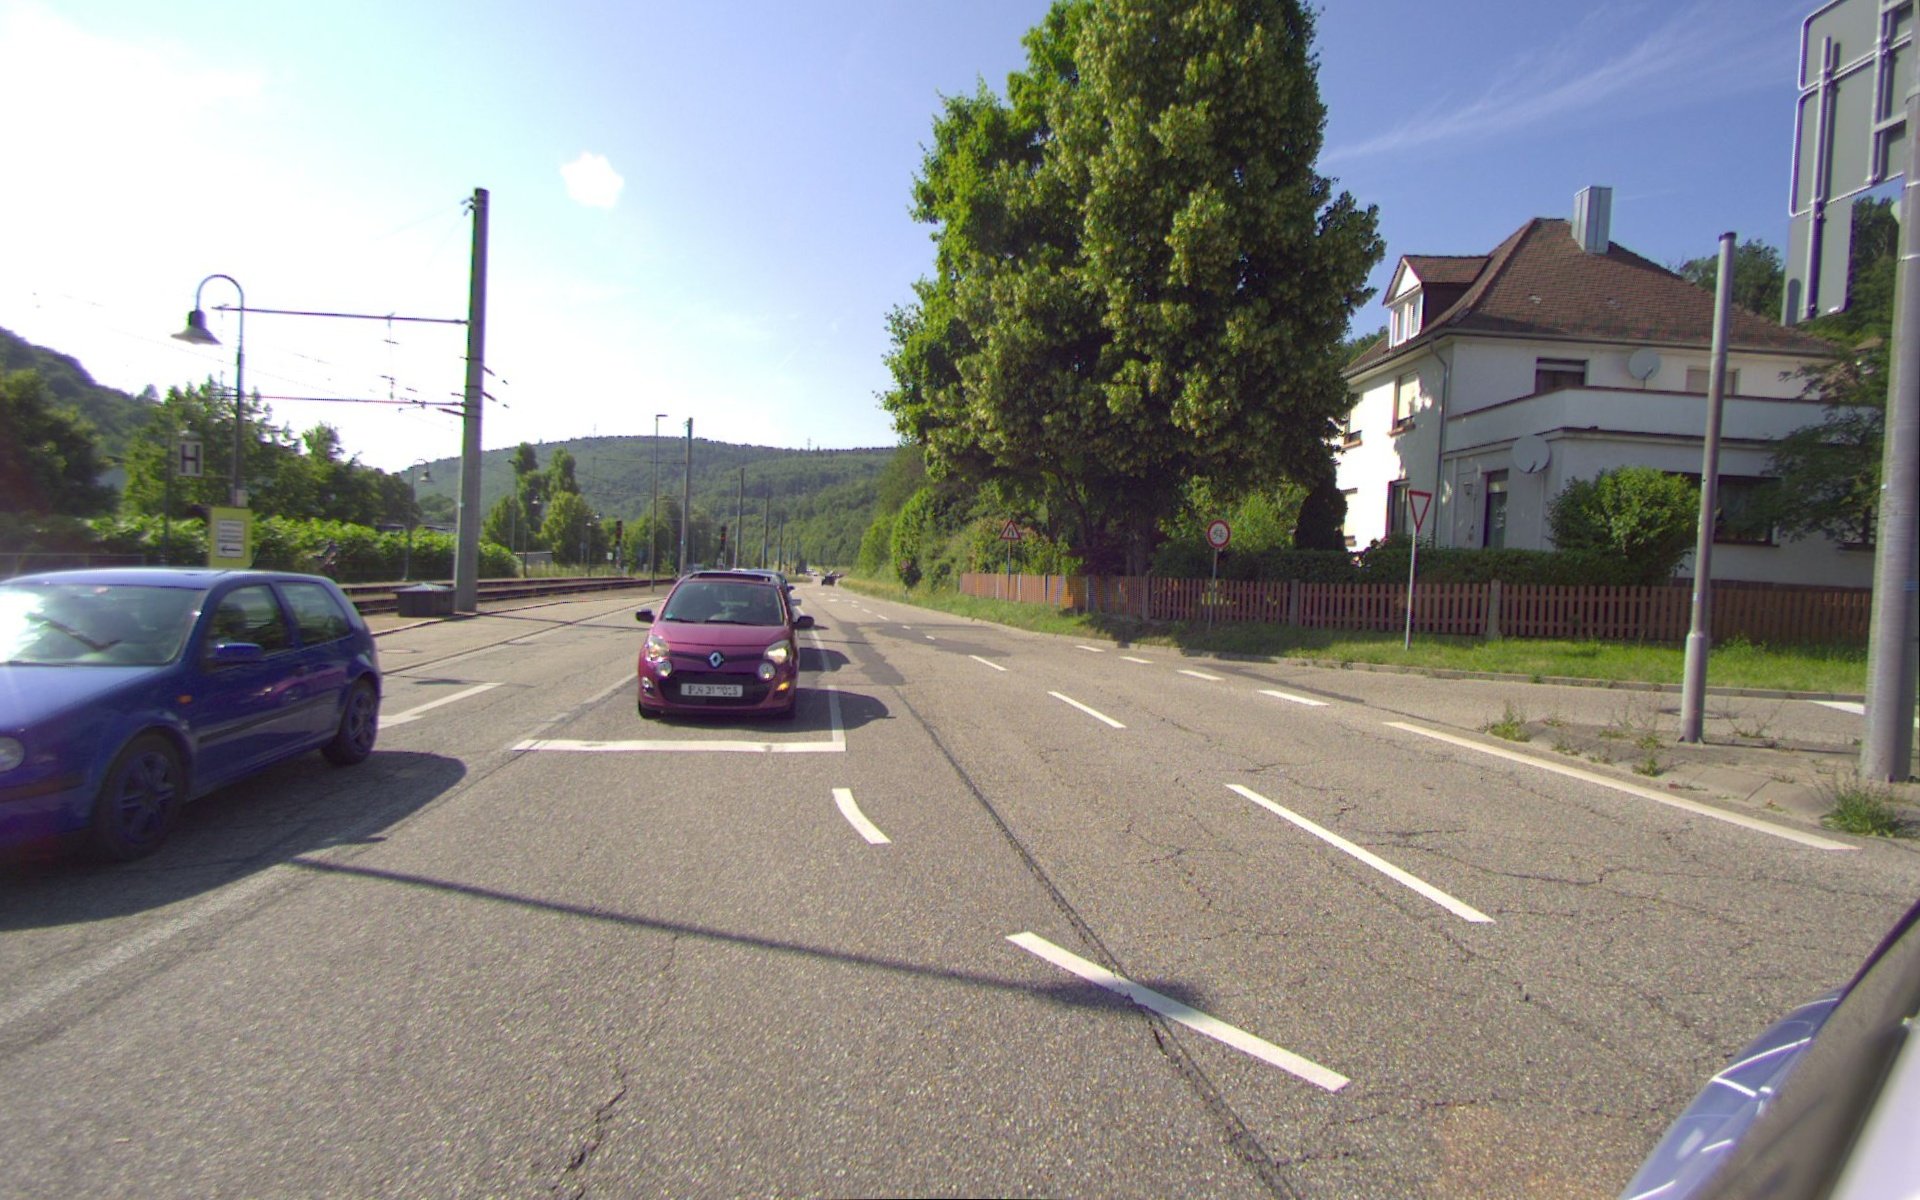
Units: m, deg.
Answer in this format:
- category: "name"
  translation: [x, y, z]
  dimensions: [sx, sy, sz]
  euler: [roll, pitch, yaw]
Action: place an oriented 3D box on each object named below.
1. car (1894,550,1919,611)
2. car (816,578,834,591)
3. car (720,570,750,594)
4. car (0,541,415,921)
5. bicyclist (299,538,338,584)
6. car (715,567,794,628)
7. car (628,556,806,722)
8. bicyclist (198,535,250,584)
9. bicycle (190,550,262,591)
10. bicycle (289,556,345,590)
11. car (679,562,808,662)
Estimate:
- category: "car"
  translation: [26.852, -0.532, 26.220]
  dimensions: [1.907, 1.658, 3.992]
  euler: [-1, 0, 7]
- category: "car"
  translation: [-18.578, -2.126, 139.171]
  dimensions: [1.958, 1.705, 4.008]
  euler: [-1, 0, -14]
- category: "car"
  translation: [-16.111, -1.300, 72.629]
  dimensions: [1.959, 1.605, 4.007]
  euler: [-1, 1, -11]
- category: "car"
  translation: [-5.002, 0.445, 5.971]
  dimensions: [1.828, 1.501, 4.310]
  euler: [1, 1, -9]
- category: "bicyclist"
  translation: [-25.010, -1.497, 39.453]
  dimensions: [0.990, 1.748, 0.866]
  euler: [-1, 0, -4]
- category: "car"
  translation: [-5.518, -0.071, 27.339]
  dimensions: [1.939, 1.523, 3.994]
  euler: [0, 0, -11]
- category: "car"
  translation: [-2.626, 0.344, 11.545]
  dimensions: [1.628, 1.553, 3.962]
  euler: [1, 1, -10]
- category: "bicyclist"
  translation: [-24.263, -1.316, 33.384]
  dimensions: [0.990, 1.573, 1.042]
  euler: [-1, 0, -4]
- category: "bicycle"
  translation: [-24.271, -0.962, 33.535]
  dimensions: [0.856, 1.270, 2.297]
  euler: [-1, 0, -4]
- category: "bicycle"
  translation: [-24.999, -1.033, 39.418]
  dimensions: [0.856, 1.270, 2.297]
  euler: [-1, 0, -4]
- category: "car"
  translation: [-3.767, 0.169, 17.854]
  dimensions: [1.939, 1.523, 4.759]
  euler: [0, 0, -11]
